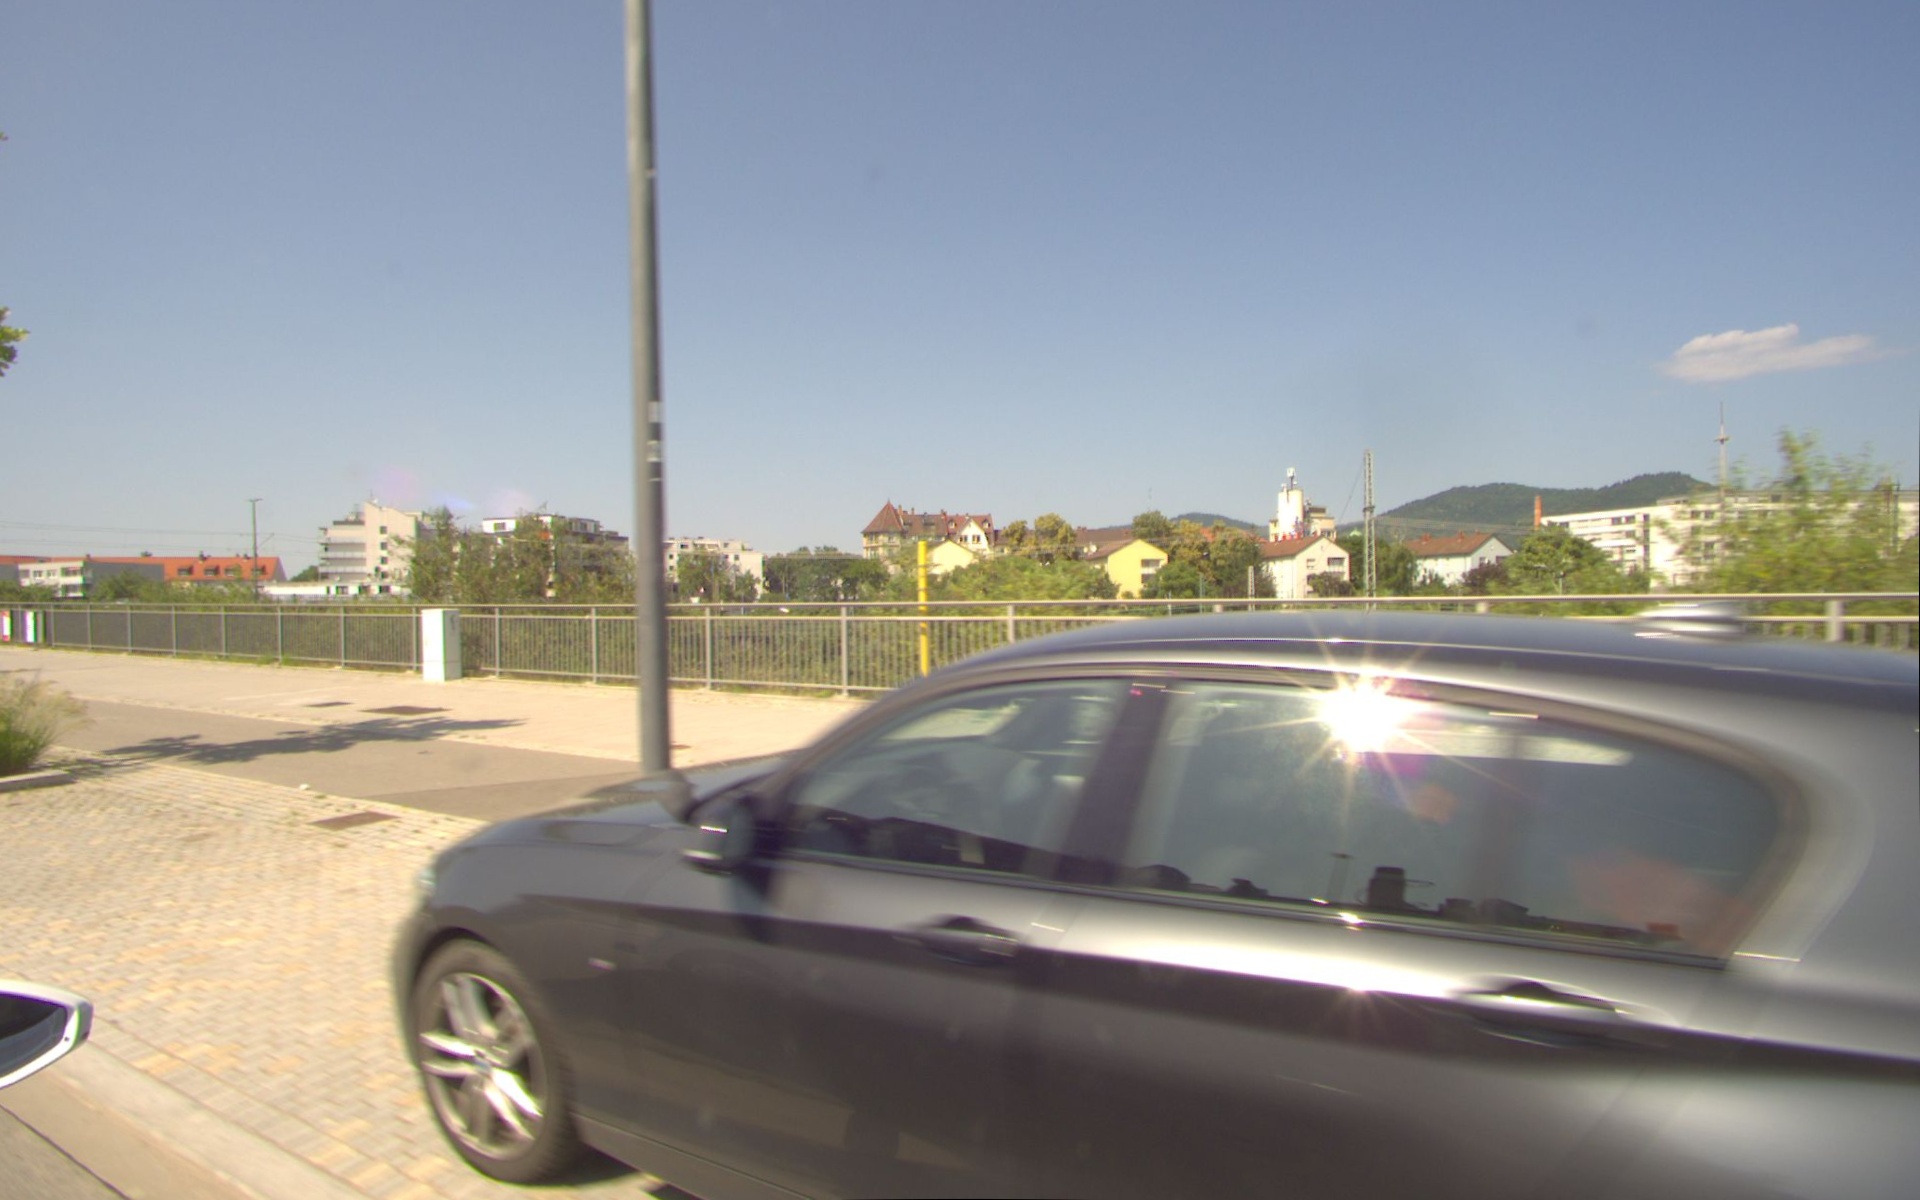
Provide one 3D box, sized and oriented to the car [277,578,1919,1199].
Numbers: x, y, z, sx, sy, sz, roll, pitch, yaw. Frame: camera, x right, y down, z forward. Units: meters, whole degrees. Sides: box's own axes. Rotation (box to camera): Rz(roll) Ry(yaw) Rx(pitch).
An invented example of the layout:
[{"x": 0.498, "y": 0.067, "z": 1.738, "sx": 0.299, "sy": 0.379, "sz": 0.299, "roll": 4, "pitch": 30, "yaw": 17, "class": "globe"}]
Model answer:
[{"x": 0.170, "y": 0.729, "z": 2.619, "sx": 4.210, "sy": 1.420, "sz": 1.700, "roll": -2, "pitch": 1, "yaw": 33, "class": "car"}]
